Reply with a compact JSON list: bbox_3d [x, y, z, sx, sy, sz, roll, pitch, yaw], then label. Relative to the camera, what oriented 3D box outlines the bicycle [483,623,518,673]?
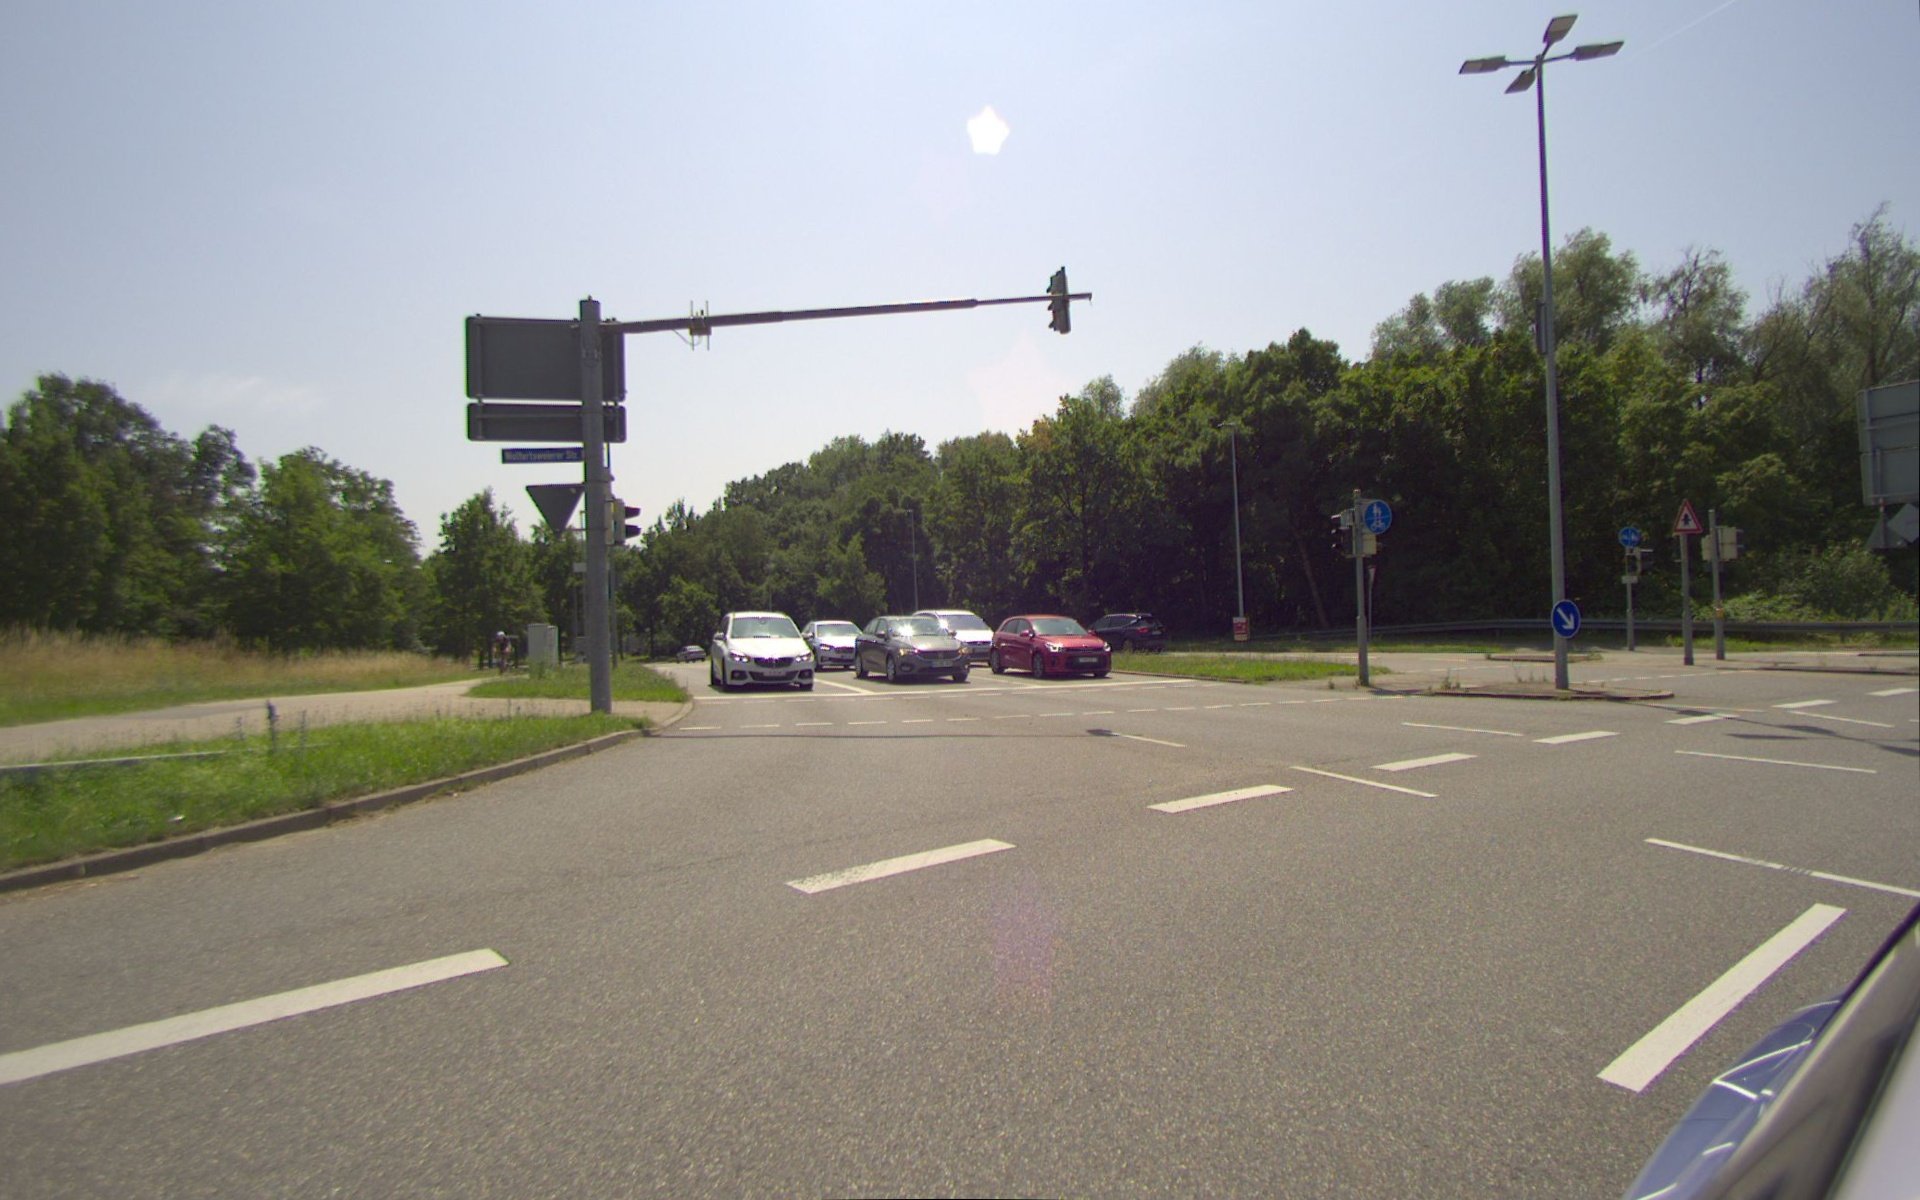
[{"bbox_3d":[-15.419,1.585,33.972,0.643,1.594,2.379,-1,-1,-14],"label":"bicycle"}]

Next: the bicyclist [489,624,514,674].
[{"bbox_3d":[-15.441,1.647,34.080,0.656,1.619,0.693,-1,-1,-14],"label":"bicyclist"}]

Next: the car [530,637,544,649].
[{"bbox_3d":[-61.151,6.207,146.300,1.471,1.631,3.572,-1,-1,-28],"label":"car"}]

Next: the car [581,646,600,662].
[{"bbox_3d":[-42.559,6.251,116.629,1.766,1.606,4.006,-1,0,-24],"label":"car"}]

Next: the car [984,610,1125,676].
[{"bbox_3d":[2.105,0.937,23.836,1.718,1.372,4.194,-1,0,-19],"label":"car"}]

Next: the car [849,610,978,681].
[{"bbox_3d":[-1.180,0.975,23.294,1.829,1.442,4.194,-1,0,-19],"label":"car"}]

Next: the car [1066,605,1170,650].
[{"bbox_3d":[5.919,1.020,38.307,1.519,1.572,3.998,-1,-1,-36],"label":"car"}]

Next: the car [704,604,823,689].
[{"bbox_3d":[-4.188,0.889,21.051,1.829,1.525,4.305,-1,0,-19],"label":"car"}]

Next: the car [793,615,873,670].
[{"bbox_3d":[-3.828,1.196,29.986,1.549,1.448,4.007,-1,0,-19],"label":"car"}]

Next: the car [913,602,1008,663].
[{"bbox_3d":[-0.053,0.939,30.291,1.549,1.673,3.613,-1,0,-23],"label":"car"}]

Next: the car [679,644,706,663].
[{"bbox_3d":[-23.965,4.739,90.677,1.475,1.515,3.696,-1,0,-29],"label":"car"}]
